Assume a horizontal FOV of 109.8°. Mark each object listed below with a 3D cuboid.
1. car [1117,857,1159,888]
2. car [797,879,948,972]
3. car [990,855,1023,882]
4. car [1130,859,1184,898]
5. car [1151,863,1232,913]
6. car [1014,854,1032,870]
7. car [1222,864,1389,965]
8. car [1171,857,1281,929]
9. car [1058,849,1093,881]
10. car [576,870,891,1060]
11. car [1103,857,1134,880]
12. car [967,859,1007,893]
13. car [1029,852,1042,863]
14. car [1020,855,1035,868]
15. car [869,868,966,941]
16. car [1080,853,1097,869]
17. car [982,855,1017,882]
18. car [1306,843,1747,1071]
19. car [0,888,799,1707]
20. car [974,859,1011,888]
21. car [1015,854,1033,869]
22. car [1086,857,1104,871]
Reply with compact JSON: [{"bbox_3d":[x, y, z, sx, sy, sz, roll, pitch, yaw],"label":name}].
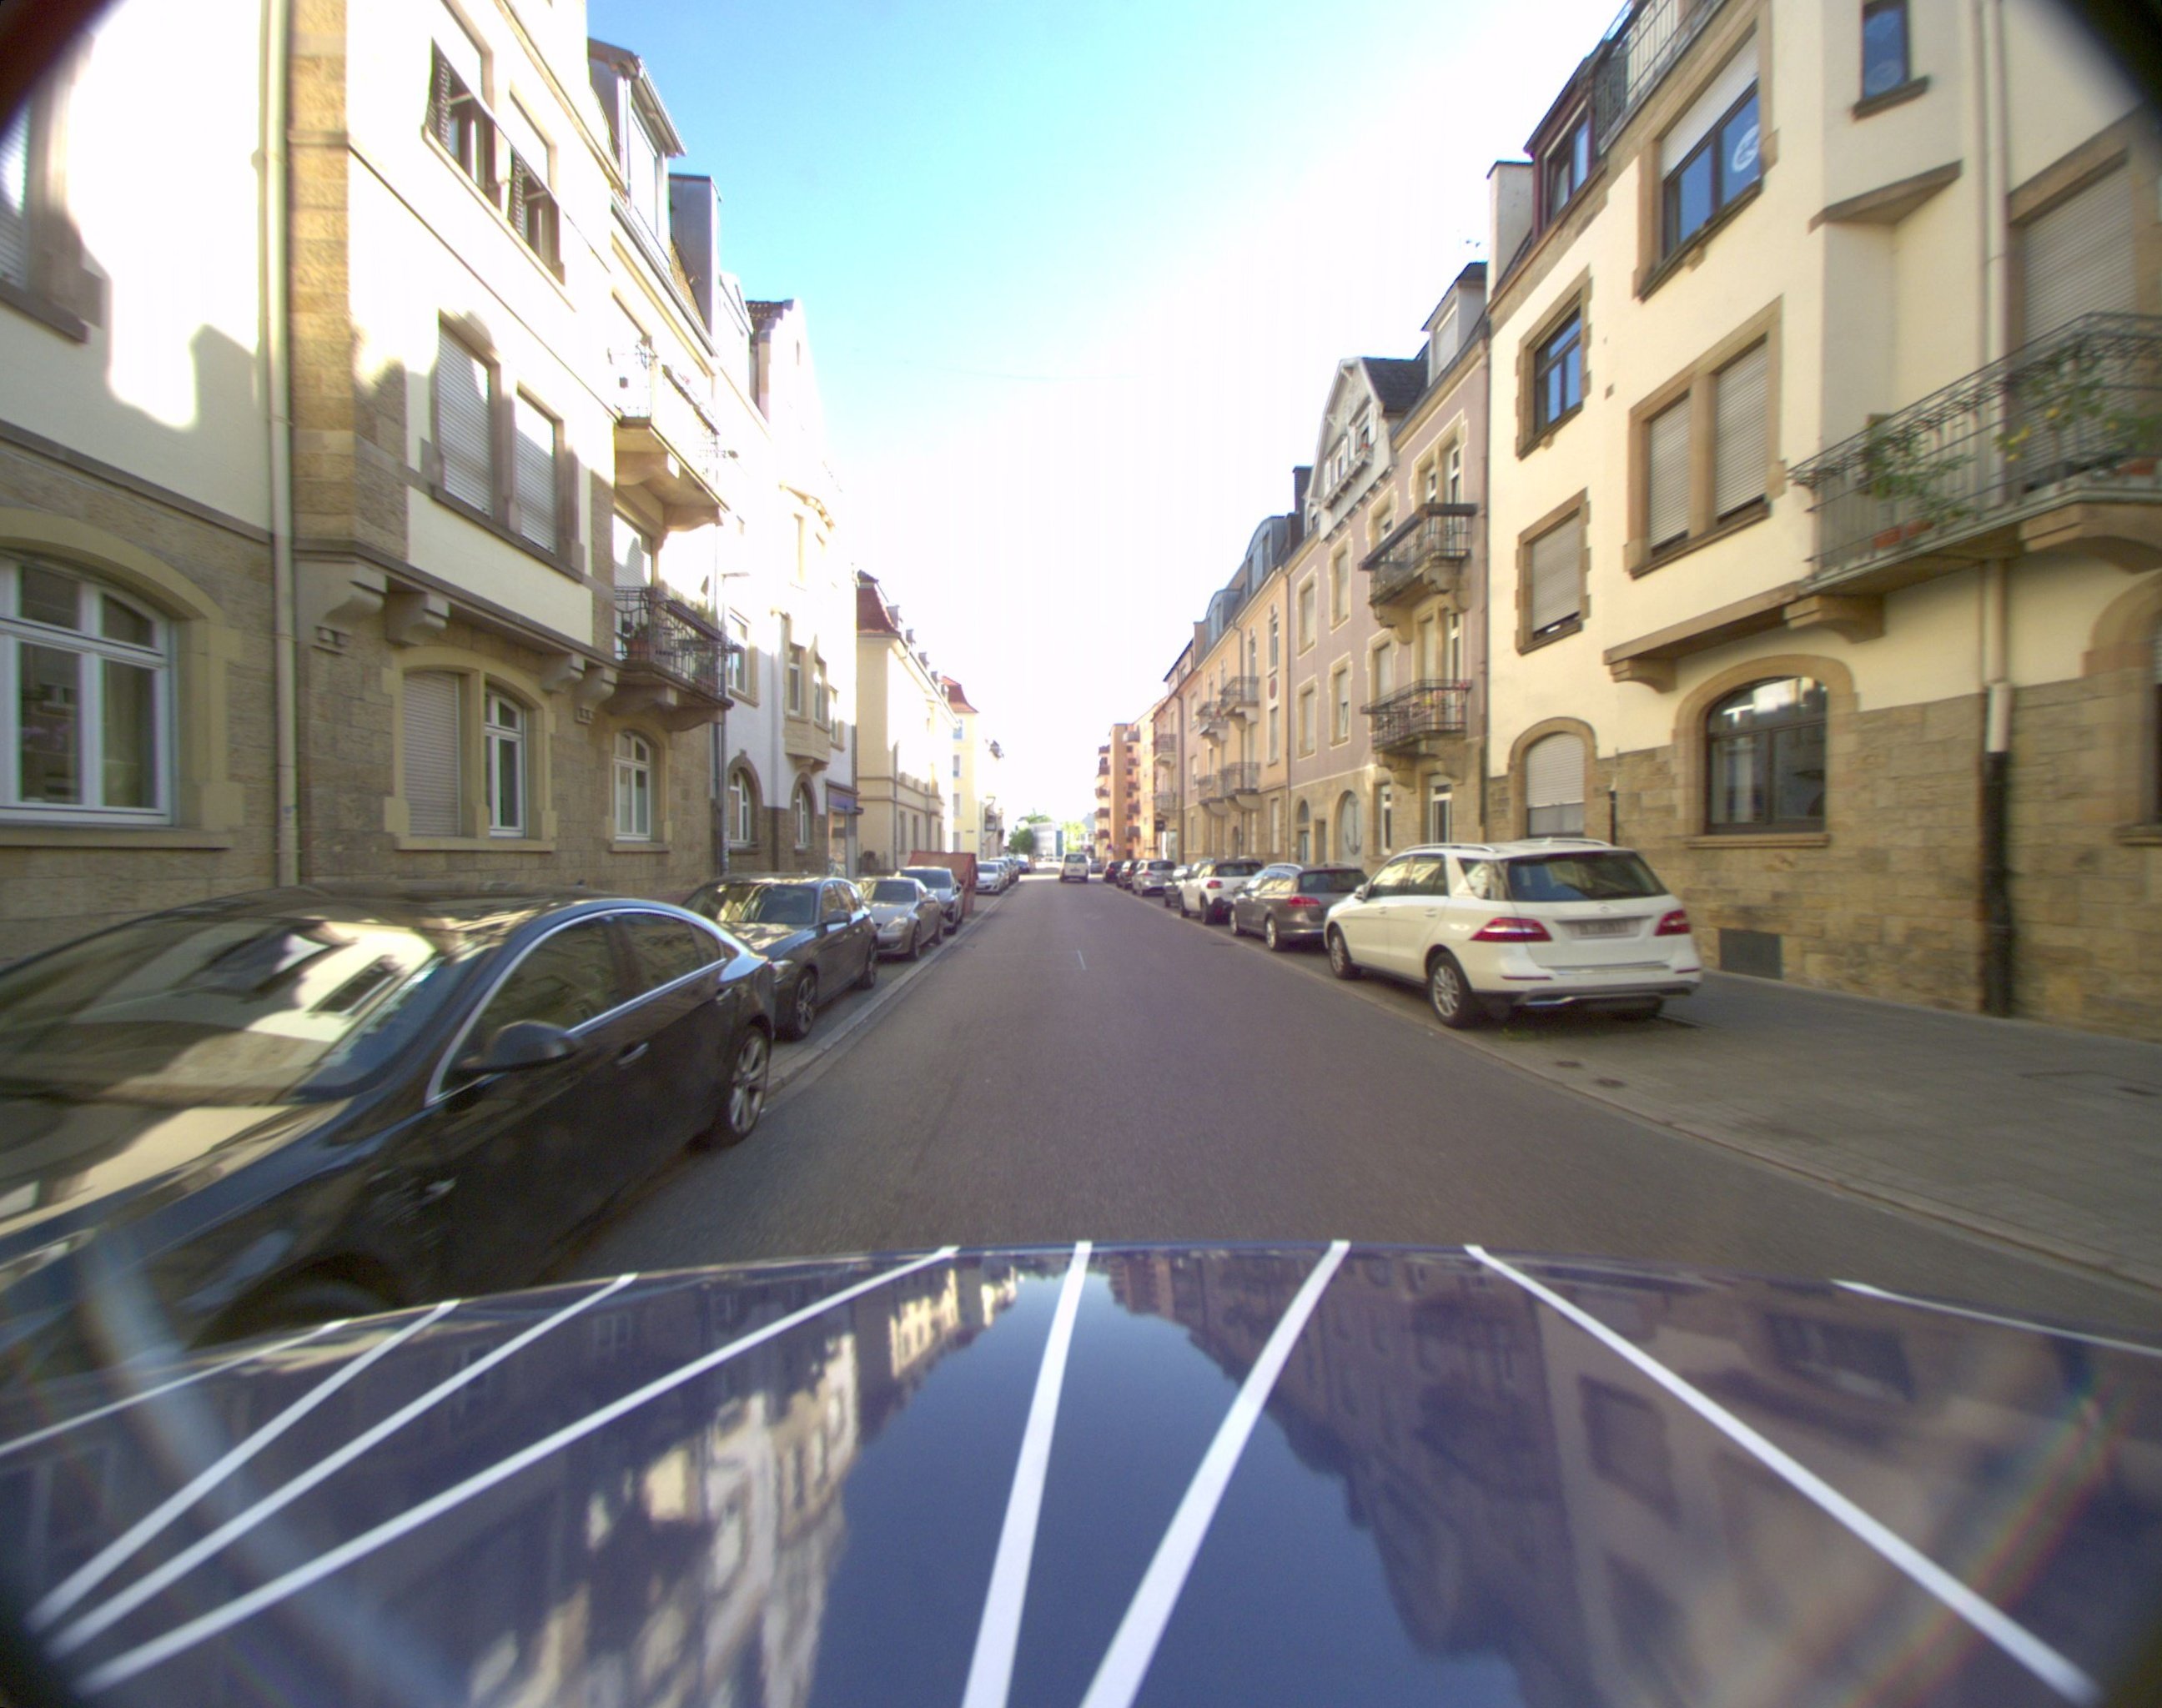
[{"bbox_3d":[2.940,0.954,39.882,1.719,1.512,4.108,0,0,-3],"label":"car"},{"bbox_3d":[-3.473,1.142,13.397,1.697,1.247,3.940,1,0,-2],"label":"car"},{"bbox_3d":[-4.956,0.928,50.759,1.791,1.654,4.434,0,0,-1],"label":"car"},{"bbox_3d":[3.264,1.027,33.142,1.719,1.529,3.722,-1,0,-4],"label":"car"},{"bbox_3d":[3.570,1.054,25.075,1.677,1.385,3.664,-4,0,-7],"label":"car"},{"bbox_3d":[-5.714,0.784,75.115,1.708,1.417,3.720,1,1,-3],"label":"car"},{"bbox_3d":[3.942,0.973,14.096,1.578,1.478,4.278,-2,0,-3],"label":"car"},{"bbox_3d":[3.622,0.916,19.690,1.719,1.574,4.019,-4,0,-4],"label":"car"},{"bbox_3d":[-0.407,0.688,49.786,1.869,1.925,4.597,0,0,-5],"label":"car"},{"bbox_3d":[-3.318,0.937,8.238,1.656,1.434,4.257,0,0,-3],"label":"car"},{"bbox_3d":[2.437,0.924,50.157,1.719,1.378,3.864,-4,0,-2],"label":"car"},{"bbox_3d":[-4.269,0.962,34.886,1.590,1.455,3.710,0,0,-4],"label":"car"},{"bbox_3d":[-6.268,0.415,105.500,1.708,1.417,3.720,1,1,-3],"label":"car"},{"bbox_3d":[-6.133,0.863,86.919,1.709,1.417,3.720,0,0,-4],"label":"car"},{"bbox_3d":[-3.688,1.087,17.740,1.791,1.421,3.805,0,0,-6],"label":"car"},{"bbox_3d":[0.915,0.822,89.586,1.823,1.867,4.110,0,0,-2],"label":"car"},{"bbox_3d":[-4.931,0.872,46.325,1.684,1.537,3.914,1,0,-1],"label":"car"},{"bbox_3d":[4.247,0.823,8.392,1.897,1.712,4.725,-3,0,-2],"label":"car"},{"bbox_3d":[-2.635,0.933,2.627,1.871,1.453,4.338,0,0,-3],"label":"car"},{"bbox_3d":[-4.641,0.979,40.263,1.657,1.455,4.093,0,0,-3],"label":"car"},{"bbox_3d":[-6.034,0.764,80.570,1.708,1.417,3.720,1,1,-3],"label":"car"},{"bbox_3d":[1.420,1.046,78.523,1.679,1.414,3.500,0,0,-2],"label":"car"}]
